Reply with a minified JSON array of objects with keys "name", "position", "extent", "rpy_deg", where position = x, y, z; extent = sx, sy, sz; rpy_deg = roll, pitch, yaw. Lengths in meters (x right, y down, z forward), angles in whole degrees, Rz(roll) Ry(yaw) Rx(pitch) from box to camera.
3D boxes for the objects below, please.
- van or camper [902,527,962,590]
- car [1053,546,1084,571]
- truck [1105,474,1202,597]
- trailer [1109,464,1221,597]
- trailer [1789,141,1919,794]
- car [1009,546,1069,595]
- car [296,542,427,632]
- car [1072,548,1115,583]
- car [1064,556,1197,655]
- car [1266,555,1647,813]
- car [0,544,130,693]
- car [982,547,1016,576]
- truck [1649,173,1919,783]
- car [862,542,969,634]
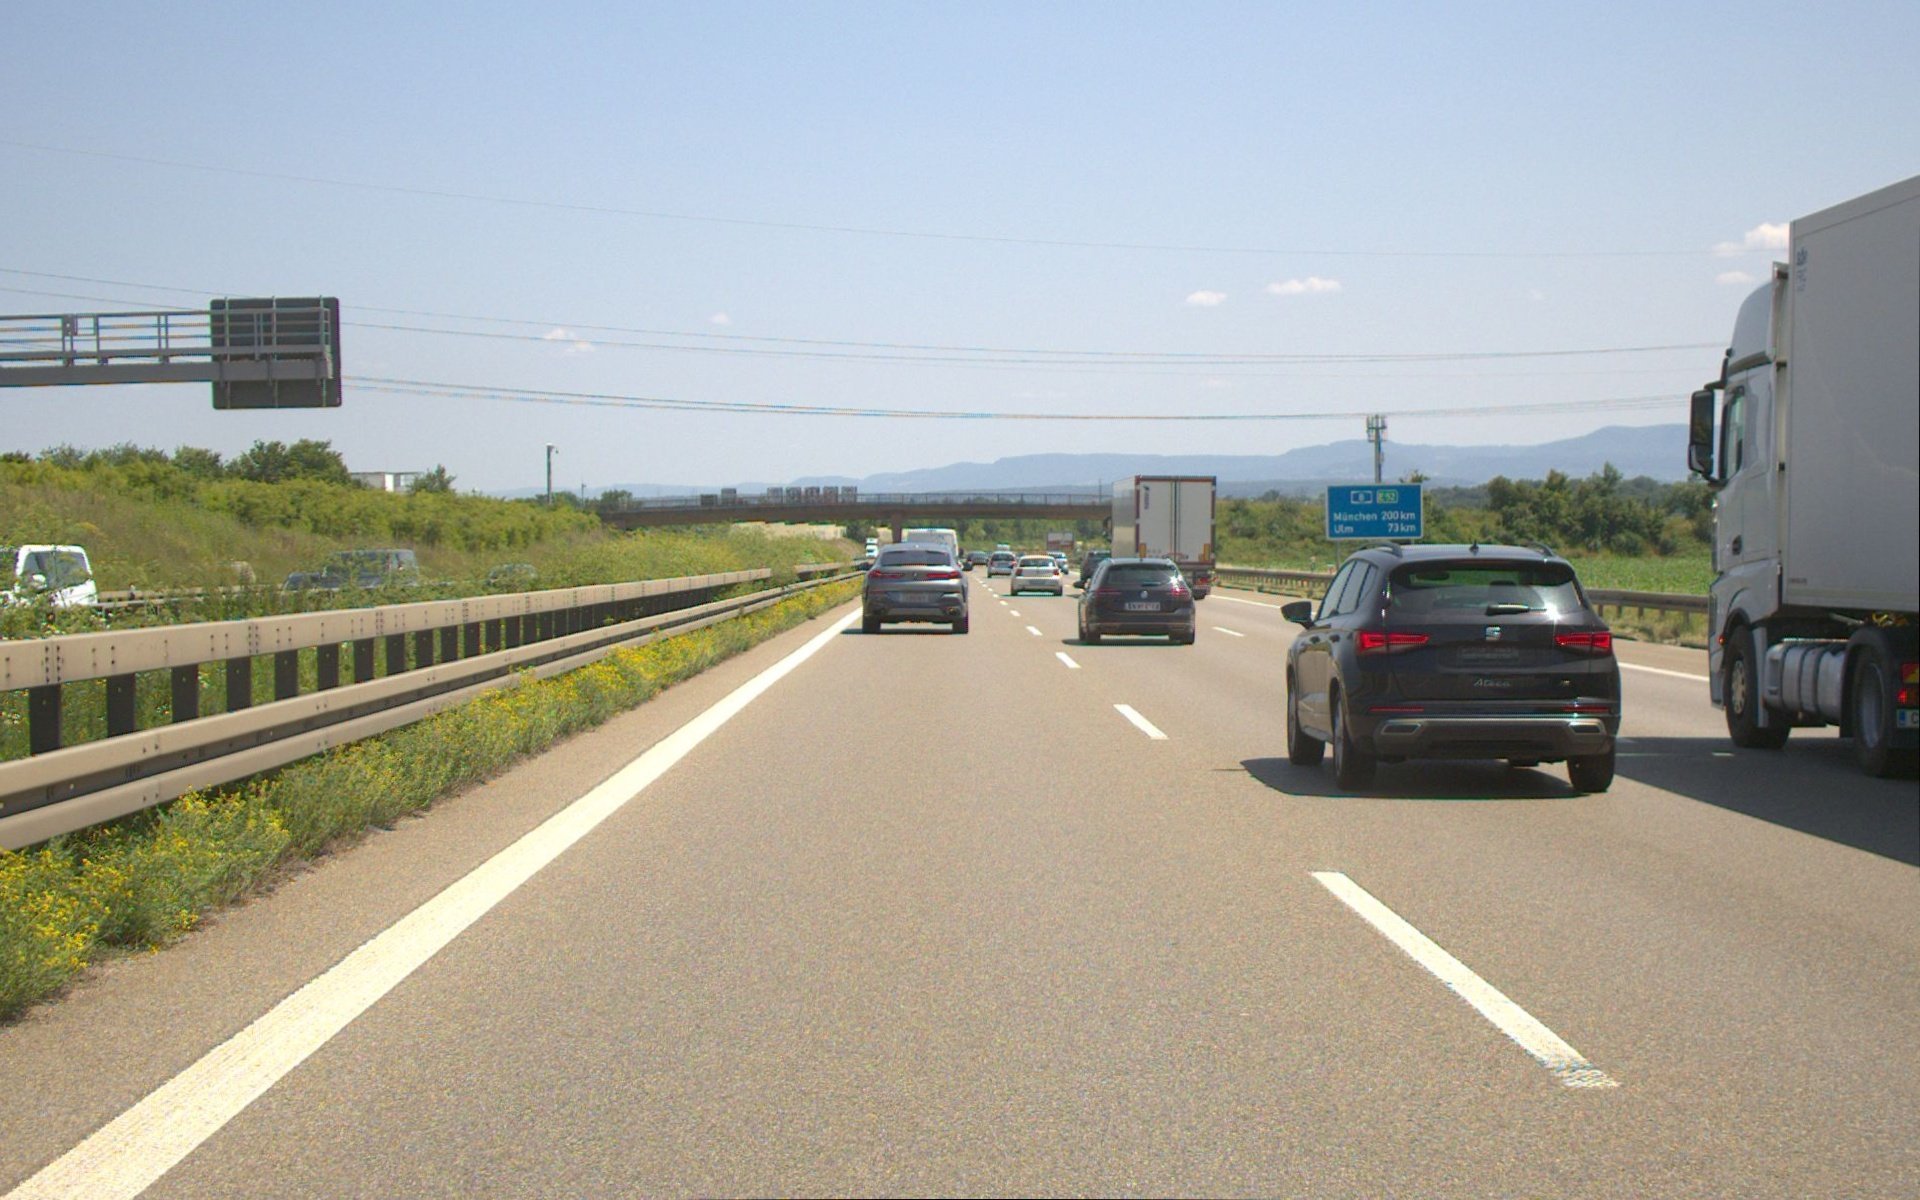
[{"name":"van or camper","position":[-0.994,-1.506,125.185],"extent":[2.110,2.204,5.265],"rpy_deg":[1,0,0]},{"name":"car","position":[7.486,-2.850,237.975],"extent":[1.993,1.677,4.000],"rpy_deg":[1,0,0]},{"name":"truck","position":[6.841,-2.259,122.471],"extent":[2.979,4.213,7.687],"rpy_deg":[1,0,0]},{"name":"trailer","position":[6.815,-2.271,116.260],"extent":[2.943,4.184,13.596],"rpy_deg":[1,0,0]},{"name":"trailer","position":[7.636,-0.807,18.640],"extent":[2.868,4.205,13.295],"rpy_deg":[1,0,-1]},{"name":"car","position":[2.776,-1.034,120.905],"extent":[1.993,1.677,4.000],"rpy_deg":[1,0,0]},{"name":"car","position":[-13.963,-0.310,80.484],"extent":[1.993,1.934,5.855],"rpy_deg":[-3,0,0]},{"name":"car","position":[6.693,-1.731,172.945],"extent":[1.993,1.677,4.000],"rpy_deg":[1,0,0]},{"name":"car","position":[2.838,0.065,58.229],"extent":[1.933,1.569,4.935],"rpy_deg":[1,0,0]},{"name":"car","position":[3.228,0.500,23.051],"extent":[1.796,1.556,3.824],"rpy_deg":[1,0,-3]},{"name":"car","position":[-13.331,0.201,48.168],"extent":[1.993,1.955,5.914],"rpy_deg":[1,0,-1]},{"name":"car","position":[2.318,-2.300,207.190],"extent":[1.993,1.677,4.000],"rpy_deg":[1,0,0]},{"name":"truck","position":[7.534,-0.819,26.488],"extent":[2.862,4.077,6.880],"rpy_deg":[1,0,-1]},{"name":"car","position":[-0.875,-0.235,64.792],"extent":[1.851,1.658,3.735],"rpy_deg":[1,0,-3]}]
